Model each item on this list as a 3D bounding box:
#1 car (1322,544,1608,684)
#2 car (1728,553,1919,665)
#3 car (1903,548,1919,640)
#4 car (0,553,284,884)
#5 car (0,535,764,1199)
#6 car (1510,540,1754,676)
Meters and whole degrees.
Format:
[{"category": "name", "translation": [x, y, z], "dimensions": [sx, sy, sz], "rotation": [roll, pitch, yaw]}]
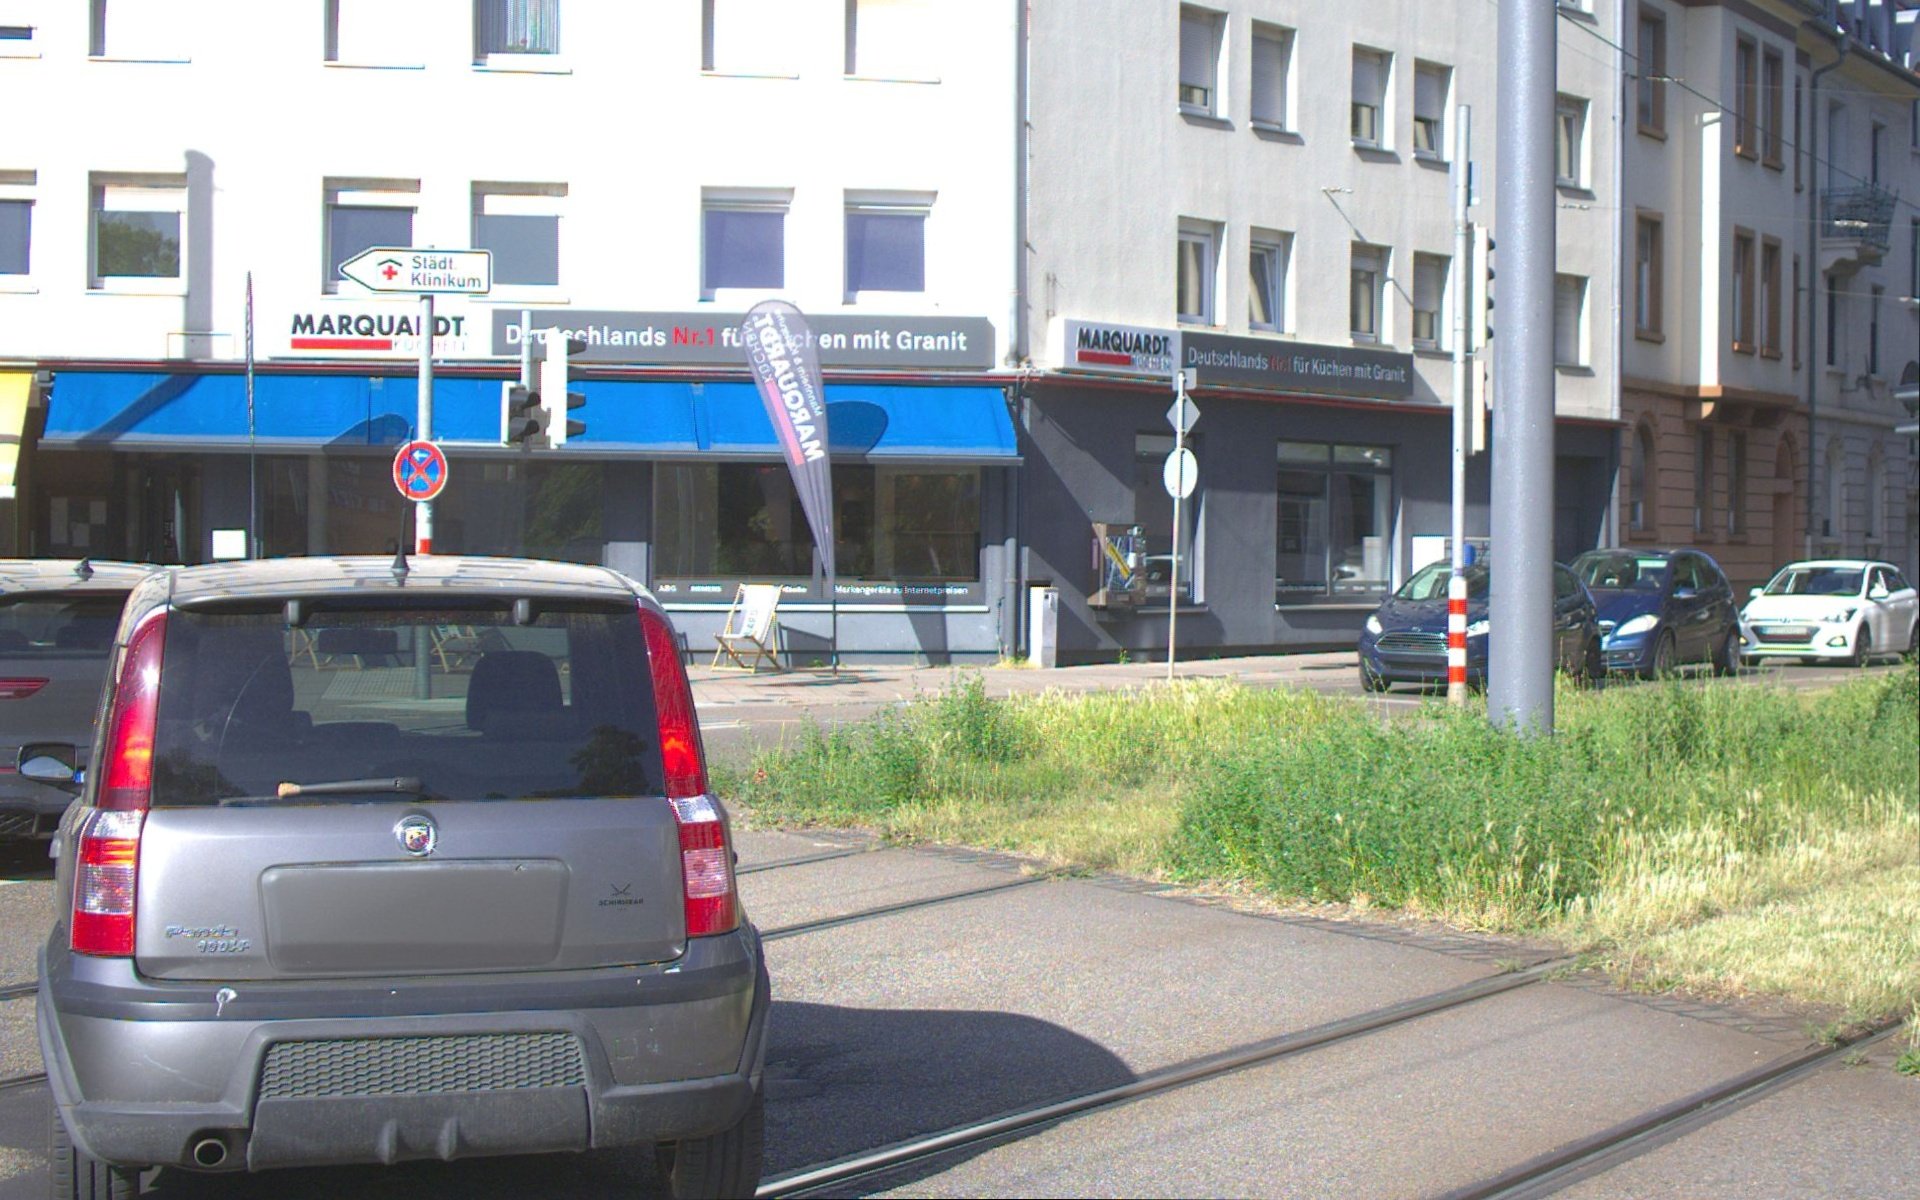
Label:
[{"category": "car", "translation": [5.439, 0.114, 36.695], "dimensions": [1.793, 1.391, 3.719], "rotation": [1, 1, 29]}, {"category": "car", "translation": [12.138, 0.101, 47.991], "dimensions": [1.793, 1.478, 3.526], "rotation": [1, 1, 29]}, {"category": "car", "translation": [16.982, -0.095, 56.252], "dimensions": [1.997, 1.468, 3.993], "rotation": [1, 1, 31]}, {"category": "car", "translation": [-4.693, 0.492, 16.880], "dimensions": [1.621, 1.424, 3.689], "rotation": [0, 1, -29]}, {"category": "car", "translation": [-1.528, 0.597, 8.740], "dimensions": [1.659, 1.505, 3.252], "rotation": [0, 1, -10]}, {"category": "car", "translation": [8.221, 0.067, 41.846], "dimensions": [1.793, 1.560, 3.760], "rotation": [1, 1, 29]}]
